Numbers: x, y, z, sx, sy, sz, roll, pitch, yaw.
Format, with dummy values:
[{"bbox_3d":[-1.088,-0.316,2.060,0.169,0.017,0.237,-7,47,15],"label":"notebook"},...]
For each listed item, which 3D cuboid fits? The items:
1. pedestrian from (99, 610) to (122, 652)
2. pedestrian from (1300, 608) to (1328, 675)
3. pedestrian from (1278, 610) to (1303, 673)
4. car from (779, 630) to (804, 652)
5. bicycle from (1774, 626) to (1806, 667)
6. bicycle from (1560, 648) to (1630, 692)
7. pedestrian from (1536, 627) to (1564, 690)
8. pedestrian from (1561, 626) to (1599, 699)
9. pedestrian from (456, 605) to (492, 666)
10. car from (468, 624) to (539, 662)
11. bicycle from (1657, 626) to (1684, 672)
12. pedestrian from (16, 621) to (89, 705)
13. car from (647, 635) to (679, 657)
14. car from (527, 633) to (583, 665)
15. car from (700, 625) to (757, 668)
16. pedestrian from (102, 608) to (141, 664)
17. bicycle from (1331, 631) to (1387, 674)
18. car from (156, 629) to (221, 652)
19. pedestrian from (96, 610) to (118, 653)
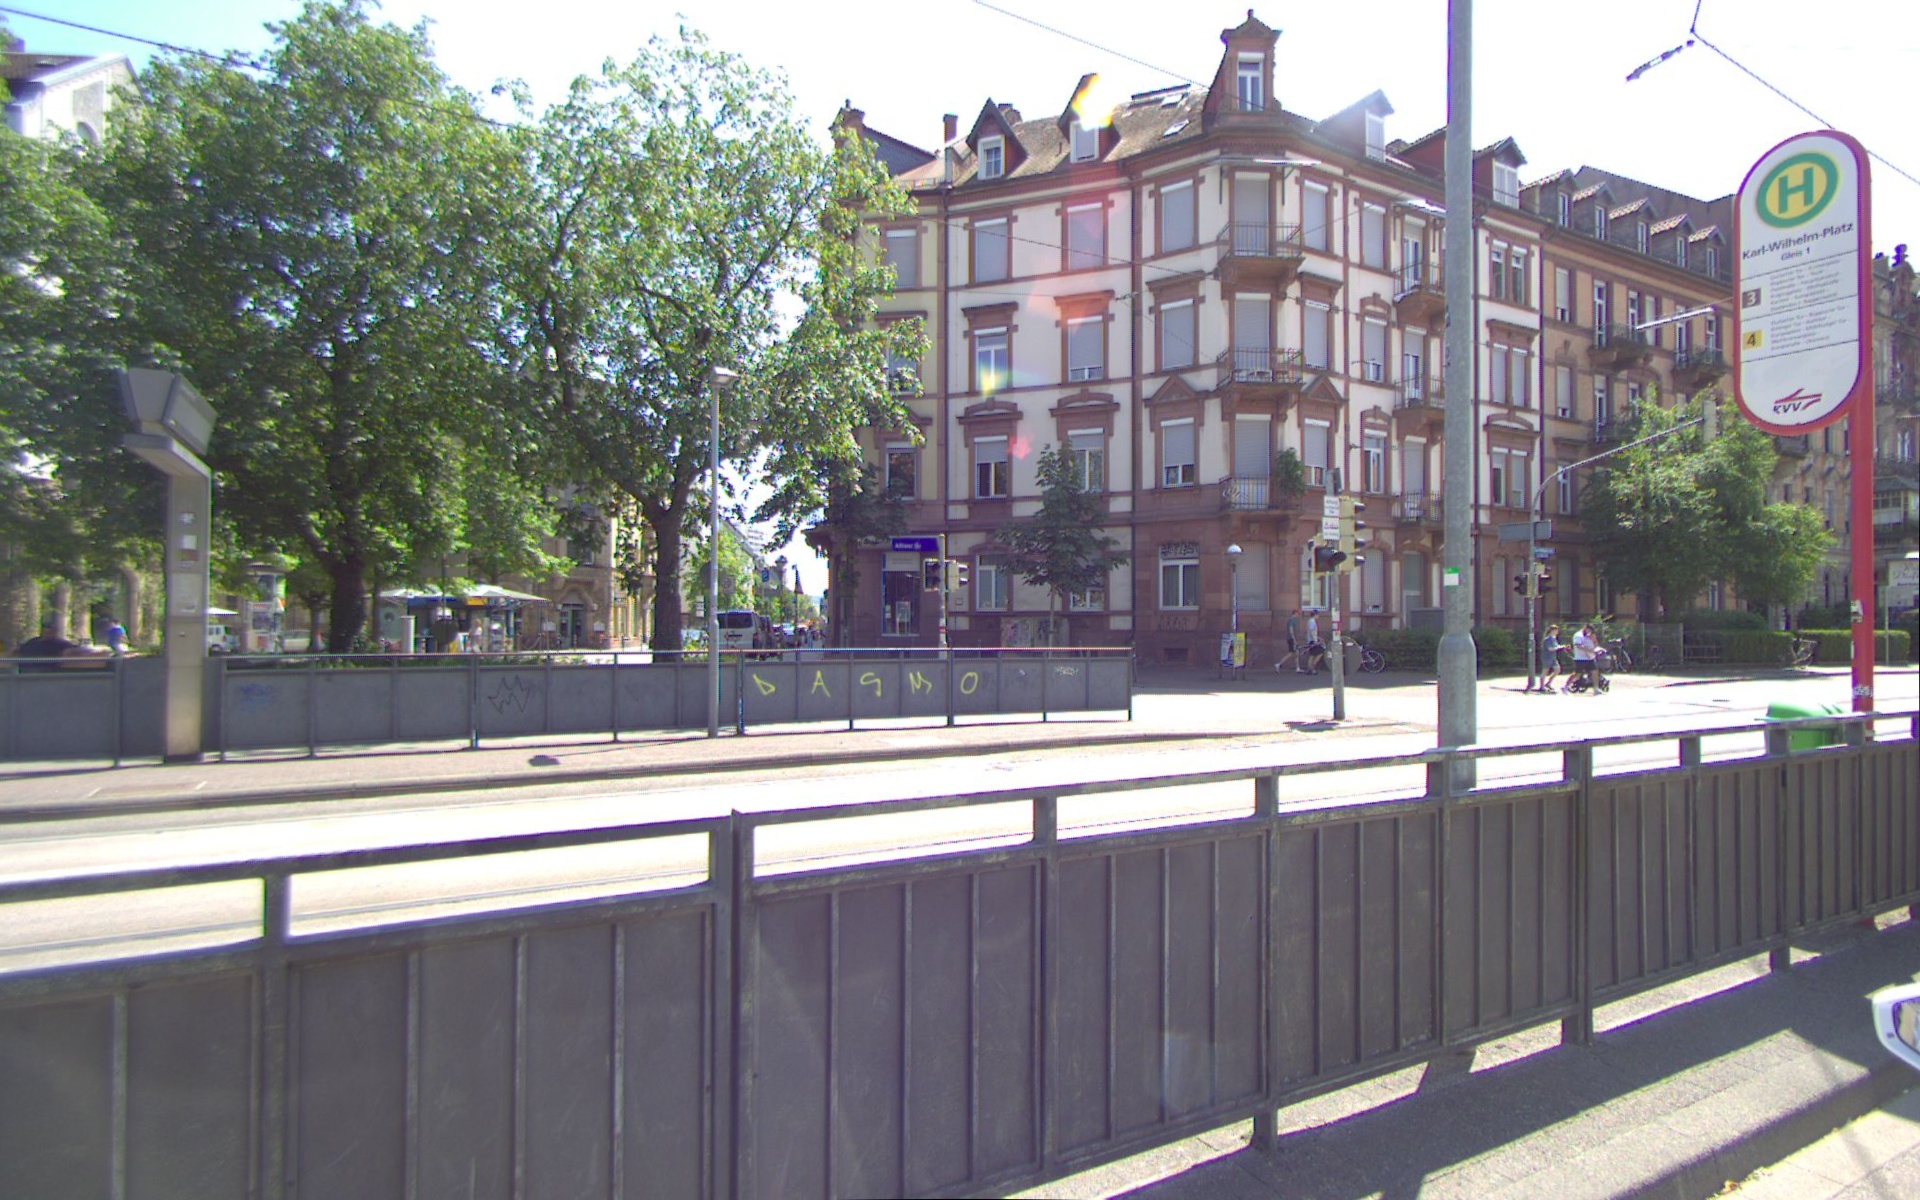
[{"bbox_3d":[-33.185,1.203,39.244,0.554,1.644,0.510,1,-1,-30],"label":"pedestrian"},{"bbox_3d":[10.044,1.171,28.492,0.556,1.849,0.632,0,-1,39],"label":"pedestrian"},{"bbox_3d":[9.534,1.196,28.981,0.500,1.791,0.527,0,-1,39],"label":"pedestrian"},{"bbox_3d":[-12.536,3.030,74.757,1.512,1.461,3.739,1,-1,-5],"label":"car"},{"bbox_3d":[28.529,1.581,34.535,0.583,1.374,2.434,0,-1,34],"label":"bicycle"},{"bbox_3d":[15.347,1.684,24.286,1.375,1.027,0.389,0,-1,21],"label":"bicycle"},{"bbox_3d":[14.726,1.446,25.073,0.497,1.536,0.469,1,-1,18],"label":"pedestrian"},{"bbox_3d":[14.525,1.452,23.534,0.641,1.637,0.469,1,2,18],"label":"pedestrian"},{"bbox_3d":[-16.329,1.188,33.772,0.797,2.040,0.716,0,-1,9],"label":"pedestrian"},{"bbox_3d":[-19.174,1.771,42.302,1.512,1.461,3.739,1,-1,-5],"label":"car"},{"bbox_3d":[22.697,1.534,32.110,0.606,1.414,2.301,0,-1,34],"label":"bicycle"},{"bbox_3d":[-14.640,1.001,16.208,0.607,1.304,0.646,1,-1,21],"label":"pedestrian"},{"bbox_3d":[-20.968,3.215,71.086,1.513,1.461,3.738,1,-1,-6],"label":"car"},{"bbox_3d":[-20.174,2.411,50.179,1.512,1.461,3.739,1,-1,-5],"label":"car"},{"bbox_3d":[-8.450,1.682,36.890,1.512,1.461,3.739,1,-1,-5],"label":"car"},{"bbox_3d":[-27.147,1.157,32.509,0.703,1.774,0.616,1,-1,-6],"label":"pedestrian"},{"bbox_3d":[11.732,1.538,29.546,1.494,1.185,0.364,1,0,34],"label":"bicycle"},{"bbox_3d":[-31.102,1.612,40.514,0.847,0.876,1.910,0,-1,35],"label":"car"},{"bbox_3d":[-32.911,1.198,38.755,0.520,1.644,0.493,1,-1,-30],"label":"pedestrian"}]
